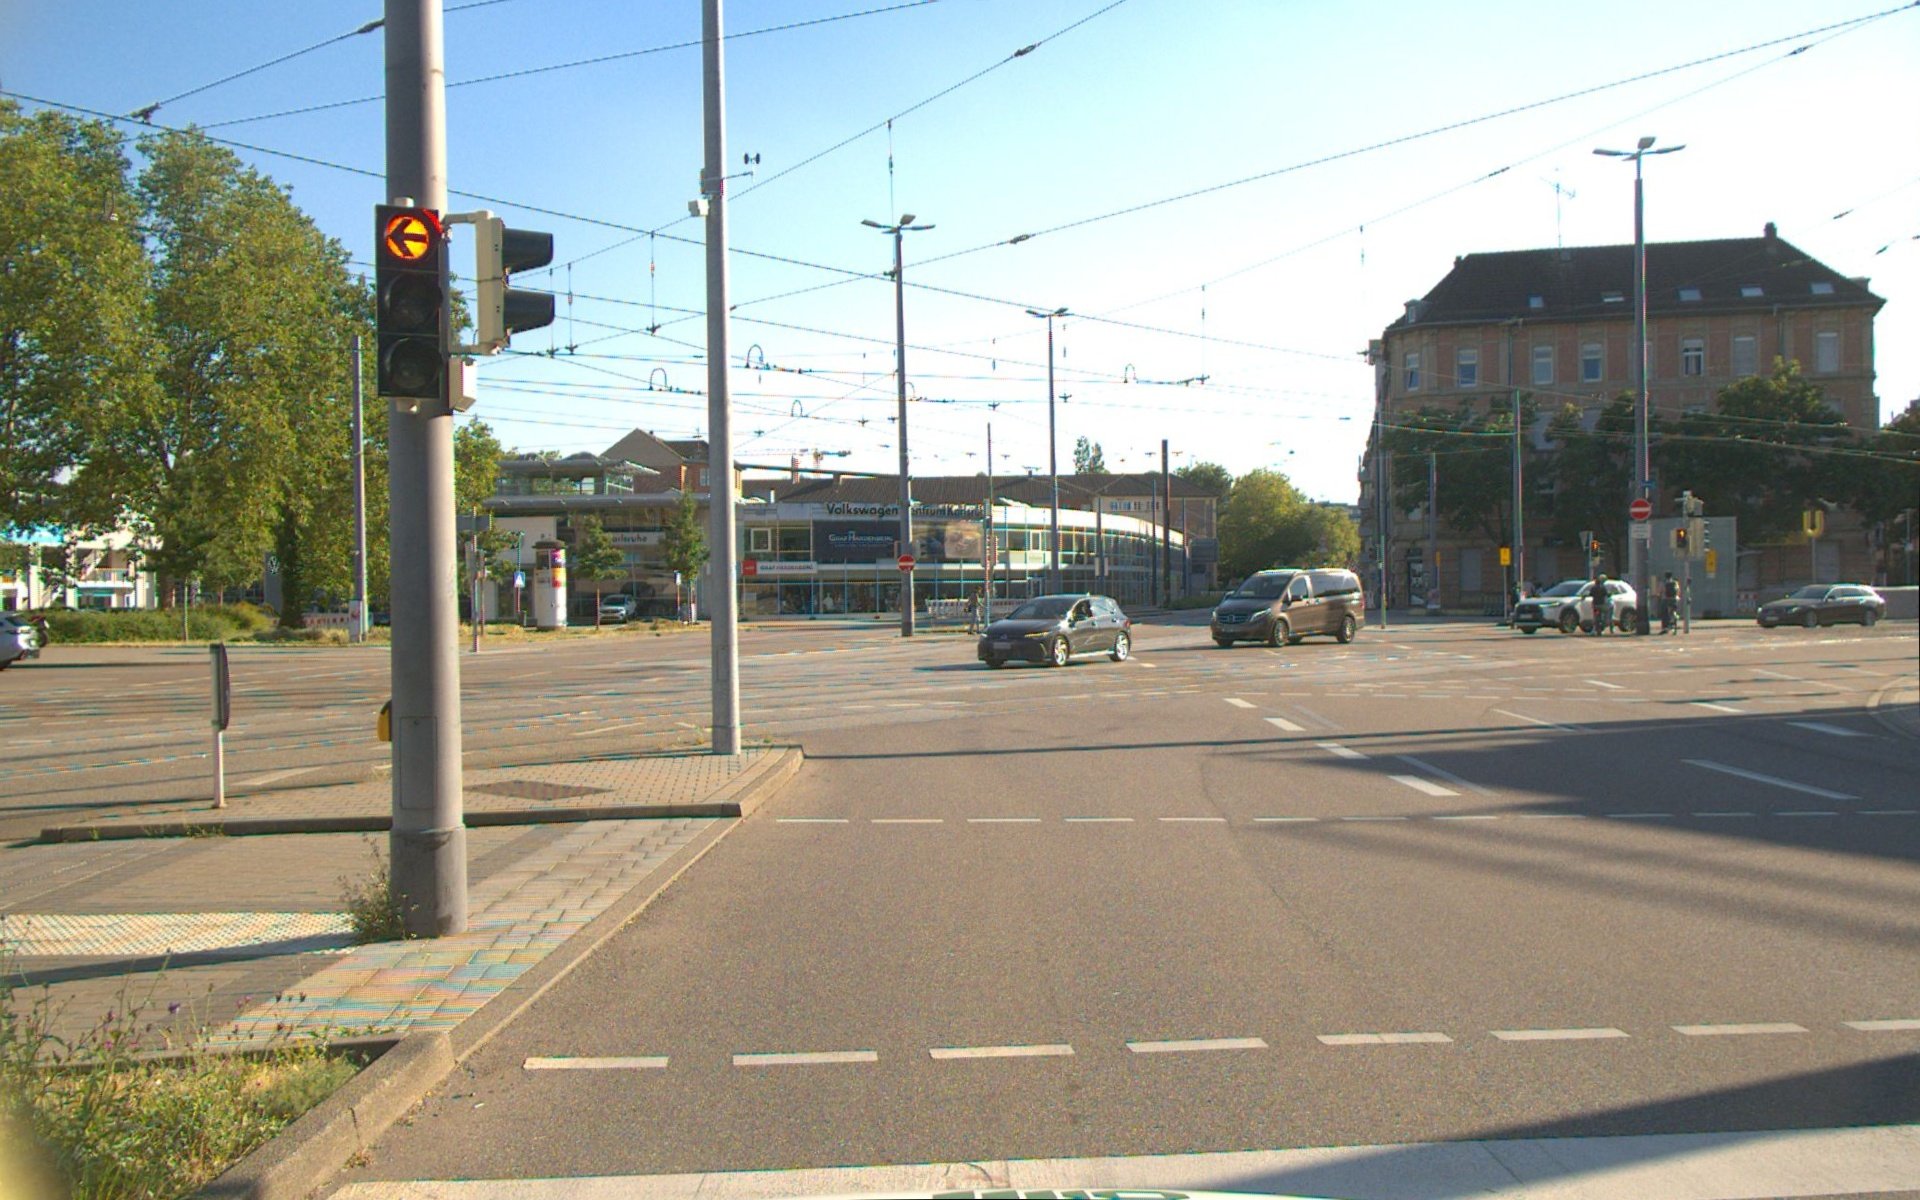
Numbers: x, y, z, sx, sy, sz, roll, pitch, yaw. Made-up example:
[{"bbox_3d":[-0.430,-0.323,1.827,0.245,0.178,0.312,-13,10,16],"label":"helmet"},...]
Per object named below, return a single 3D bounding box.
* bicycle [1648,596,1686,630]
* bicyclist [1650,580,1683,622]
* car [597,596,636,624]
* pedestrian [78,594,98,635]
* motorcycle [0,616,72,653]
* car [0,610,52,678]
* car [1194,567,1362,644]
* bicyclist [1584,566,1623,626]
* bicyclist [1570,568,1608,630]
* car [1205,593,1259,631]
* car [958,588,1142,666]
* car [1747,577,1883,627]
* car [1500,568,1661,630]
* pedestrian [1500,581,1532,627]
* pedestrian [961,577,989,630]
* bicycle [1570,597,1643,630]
[{"bbox_3d":[20.818,0.374,48.749,0.839,0.921,2.305,1,2,19],"label":"bicycle"},{"bbox_3d":[20.821,0.018,48.763,0.839,1.197,0.715,1,2,19],"label":"bicyclist"},{"bbox_3d":[-20.818,0.588,100.436,1.955,1.561,3.995,0,2,-6],"label":"car"},{"bbox_3d":[-44.260,0.727,83.954,0.576,2.049,0.710,-1,0,-1],"label":"pedestrian"},{"bbox_3d":[-28.226,1.051,50.087,2.246,1.072,0.685,0,2,-14],"label":"motorcycle"},{"bbox_3d":[-23.676,1.045,38.214,4.481,1.544,1.940,-1,0,-23],"label":"car"},{"bbox_3d":[8.422,0.109,43.558,4.812,1.926,1.923,-1,0,-43],"label":"car"},{"bbox_3d":[18.998,-0.124,48.807,0.643,1.720,0.851,-1,2,-32],"label":"bicyclist"},{"bbox_3d":[18.452,-0.024,48.492,0.577,1.809,0.858,-1,0,-31],"label":"bicyclist"},{"bbox_3d":[11.937,0.499,72.835,1.906,1.622,4.619,-1,0,4],"label":"car"},{"bbox_3d":[1.960,0.537,34.865,1.915,1.512,4.085,-1,0,37],"label":"car"},{"bbox_3d":[29.258,0.040,56.600,4.288,1.590,1.937,-1,2,-25],"label":"car"},{"bbox_3d":[19.294,-0.040,51.413,4.773,1.830,1.938,-1,0,-25],"label":"car"},{"bbox_3d":[20.744,0.151,61.688,0.905,1.705,0.782,-1,0,-1],"label":"pedestrian"},{"bbox_3d":[0.525,0.119,58.343,0.969,1.848,0.920,0,2,-3],"label":"pedestrian"},{"bbox_3d":[19.114,0.386,48.891,2.274,0.921,0.851,-1,2,-32],"label":"bicycle"}]
